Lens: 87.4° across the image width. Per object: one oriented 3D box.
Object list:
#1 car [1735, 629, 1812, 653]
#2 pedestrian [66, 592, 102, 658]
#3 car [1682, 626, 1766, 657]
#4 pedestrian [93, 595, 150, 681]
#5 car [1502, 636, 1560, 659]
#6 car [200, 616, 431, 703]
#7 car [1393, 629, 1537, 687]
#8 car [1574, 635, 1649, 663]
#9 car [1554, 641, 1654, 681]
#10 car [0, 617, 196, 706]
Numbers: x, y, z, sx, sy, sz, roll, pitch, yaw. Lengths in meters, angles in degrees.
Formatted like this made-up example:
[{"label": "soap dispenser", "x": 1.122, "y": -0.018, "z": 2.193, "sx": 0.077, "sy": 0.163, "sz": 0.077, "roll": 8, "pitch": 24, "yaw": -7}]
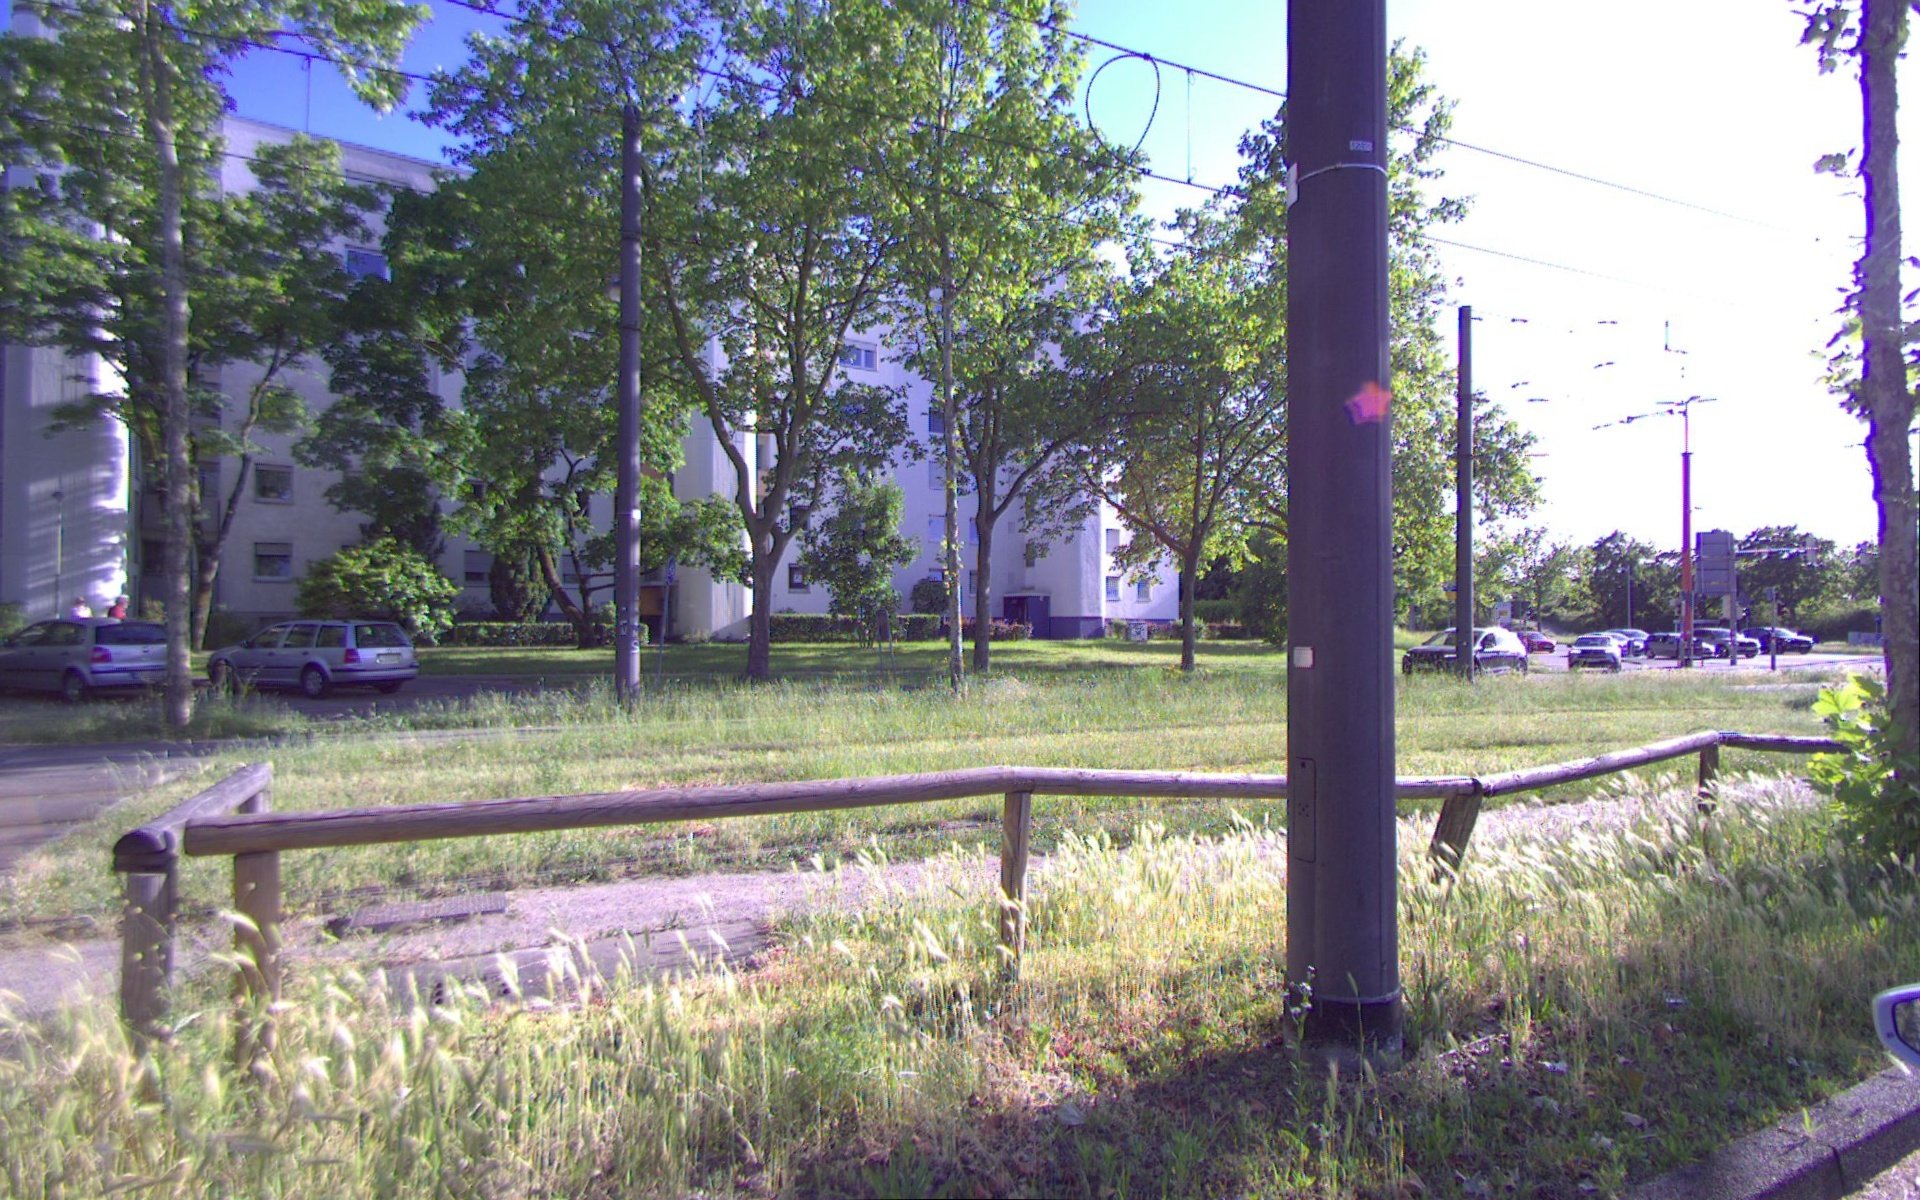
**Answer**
[{"label": "car", "x": 50.759, "y": 2.536, "z": 62.767, "sx": 1.664, "sy": 1.347, "sz": 4.001, "roll": 1, "pitch": -1, "yaw": 2}, {"label": "pedestrian", "x": -23.821, "y": 0.680, "z": 27.311, "sx": 0.628, "sy": 1.780, "sz": 0.518, "roll": 1, "pitch": -1, "yaw": -32}, {"label": "car", "x": 44.610, "y": 2.405, "z": 58.792, "sx": 1.960, "sy": 1.666, "sz": 4.001, "roll": 1, "pitch": -1, "yaw": 2}, {"label": "pedestrian", "x": -17.702, "y": 0.795, "z": 21.222, "sx": 0.746, "sy": 1.780, "sz": 0.757, "roll": 1, "pitch": -1, "yaw": -29}, {"label": "car", "x": 40.529, "y": 3.350, "z": 71.378, "sx": 1.699, "sy": 1.533, "sz": 3.998, "roll": 1, "pitch": -1, "yaw": -3}, {"label": "car", "x": -12.569, "y": 1.095, "z": 19.634, "sx": 3.898, "sy": 1.462, "sz": 1.710, "roll": 1, "pitch": 0, "yaw": 18}, {"label": "car", "x": 14.351, "y": 1.608, "z": 28.520, "sx": 4.054, "sy": 1.532, "sz": 1.756, "roll": 1, "pitch": -1, "yaw": -30}, {"label": "car", "x": 41.064, "y": 3.049, "z": 63.442, "sx": 1.833, "sy": 1.633, "sz": 4.185, "roll": 1, "pitch": -1, "yaw": -4}, {"label": "car", "x": 26.798, "y": 2.498, "z": 41.754, "sx": 4.280, "sy": 1.543, "sz": 1.797, "roll": 1, "pitch": -1, "yaw": -31}, {"label": "car", "x": -15.971, "y": 1.056, "z": 18.257, "sx": 3.547, "sy": 1.439, "sz": 1.576, "roll": 1, "pitch": 0, "yaw": 18}]
